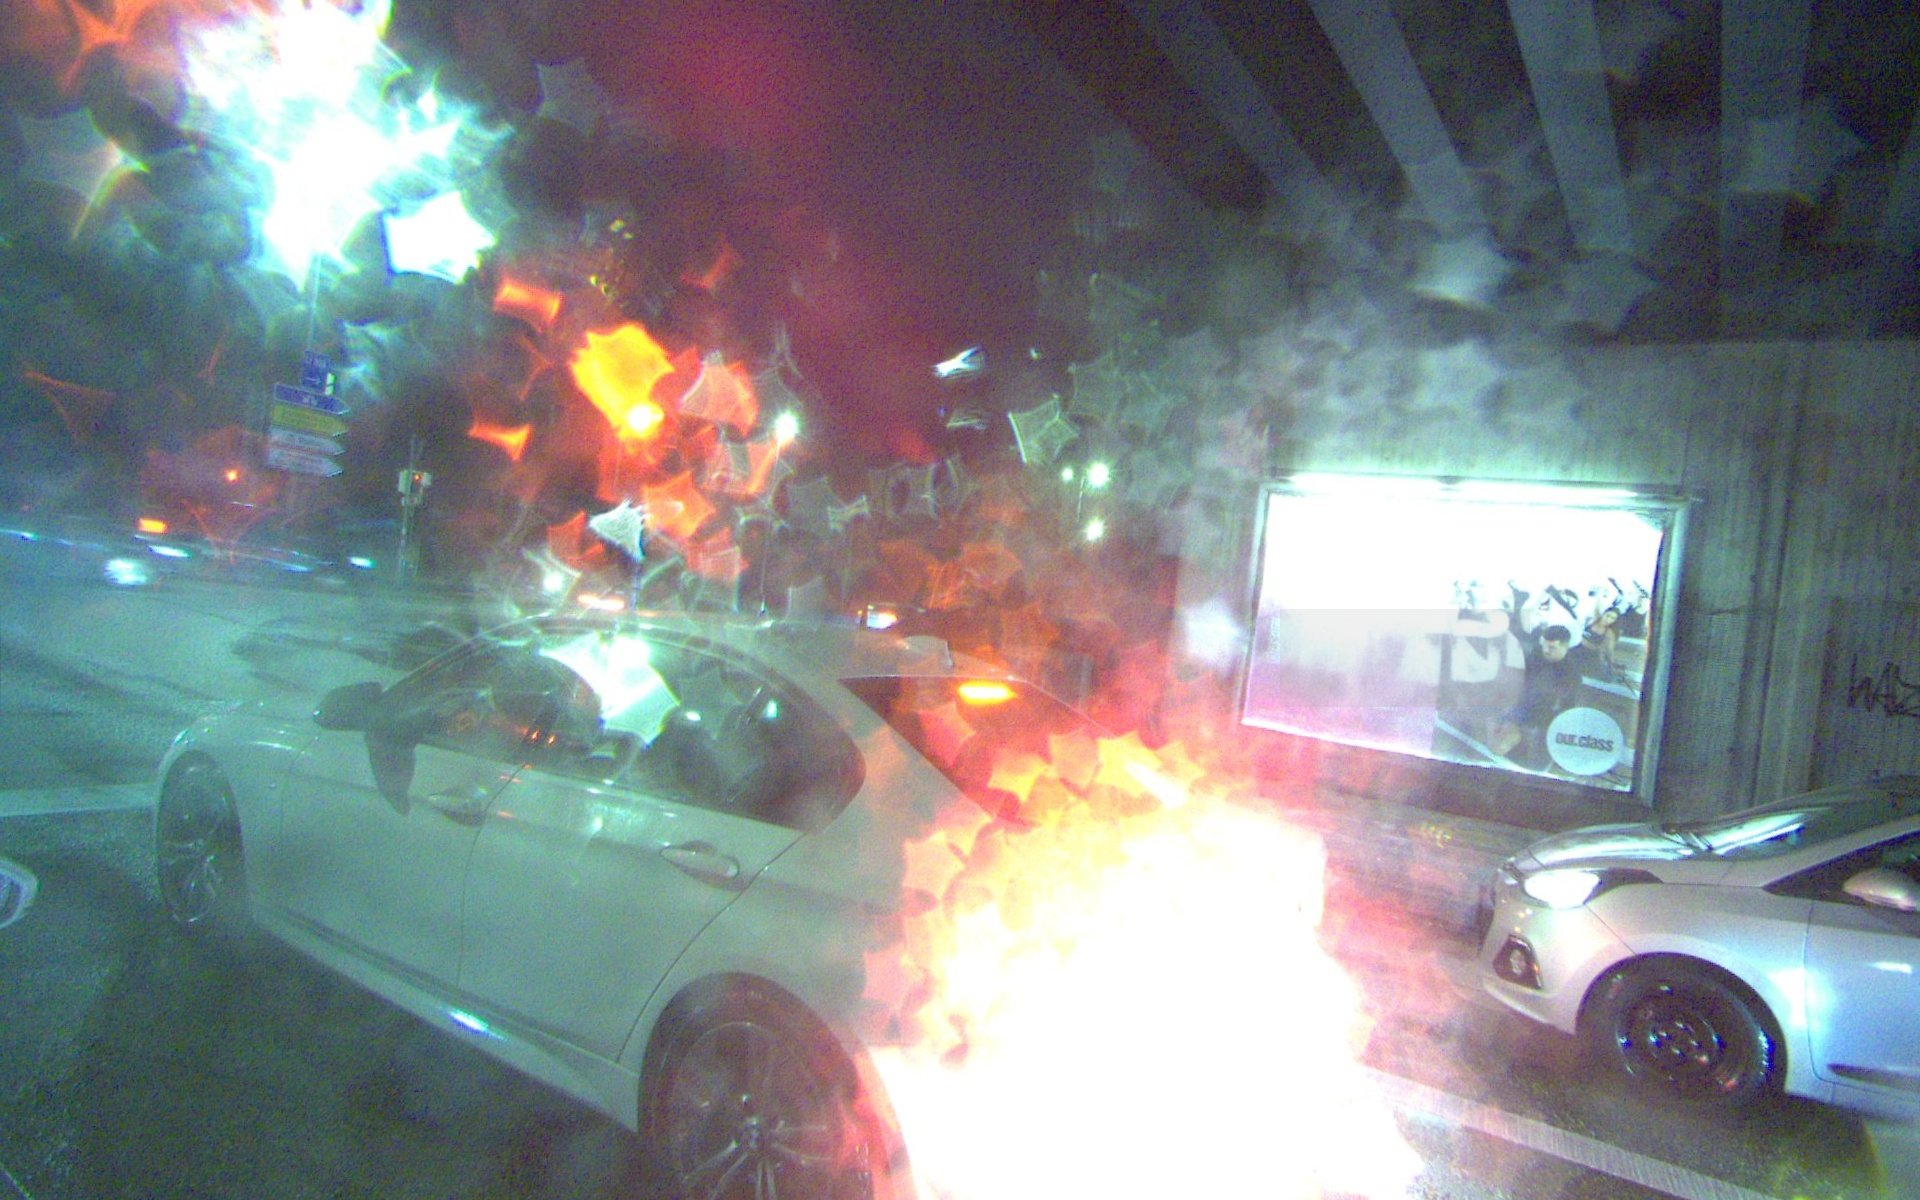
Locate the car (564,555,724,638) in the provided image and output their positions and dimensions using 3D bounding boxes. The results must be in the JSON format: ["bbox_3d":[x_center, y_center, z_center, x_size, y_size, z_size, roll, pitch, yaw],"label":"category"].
[{"bbox_3d":[-8.407,-0.047,27.019,1.695,1.754,3.758,6,-2,32],"label":"car"}]

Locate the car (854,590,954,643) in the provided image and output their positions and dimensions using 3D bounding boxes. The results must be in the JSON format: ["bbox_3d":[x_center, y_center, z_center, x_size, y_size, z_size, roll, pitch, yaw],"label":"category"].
[{"bbox_3d":[-2.240,0.717,41.408,1.809,1.690,4.457,6,-2,30],"label":"car"}]

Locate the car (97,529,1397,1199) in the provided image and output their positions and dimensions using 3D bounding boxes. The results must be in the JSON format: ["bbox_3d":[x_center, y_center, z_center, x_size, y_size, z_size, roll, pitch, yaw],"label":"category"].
[{"bbox_3d":[-0.981,0.706,3.506,4.309,1.465,1.722,6,0,31],"label":"car"}]

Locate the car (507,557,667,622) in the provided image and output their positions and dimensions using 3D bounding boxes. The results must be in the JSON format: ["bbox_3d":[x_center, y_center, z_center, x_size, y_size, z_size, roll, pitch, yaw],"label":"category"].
[{"bbox_3d":[-12.782,-0.315,34.776,1.826,1.609,4.850,6,-2,38],"label":"car"}]

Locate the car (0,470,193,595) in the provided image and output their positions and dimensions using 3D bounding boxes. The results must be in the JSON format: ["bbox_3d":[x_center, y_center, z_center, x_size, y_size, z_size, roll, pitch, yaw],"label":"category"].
[{"bbox_3d":[-15.692,-1.232,16.828,4.385,1.692,1.937,8,-2,-40],"label":"car"}]

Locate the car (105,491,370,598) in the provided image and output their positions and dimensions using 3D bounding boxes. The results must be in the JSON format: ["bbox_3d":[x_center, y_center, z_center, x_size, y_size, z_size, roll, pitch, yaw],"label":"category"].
[{"bbox_3d":[-15.882,-1.154,22.264,4.485,1.637,1.886,8,-2,-42],"label":"car"}]

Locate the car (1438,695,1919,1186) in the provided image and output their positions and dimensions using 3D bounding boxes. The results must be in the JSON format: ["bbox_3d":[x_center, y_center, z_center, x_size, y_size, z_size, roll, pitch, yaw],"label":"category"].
[{"bbox_3d":[4.287,1.413,3.976,4.092,1.465,1.722,6,0,31],"label":"car"}]
